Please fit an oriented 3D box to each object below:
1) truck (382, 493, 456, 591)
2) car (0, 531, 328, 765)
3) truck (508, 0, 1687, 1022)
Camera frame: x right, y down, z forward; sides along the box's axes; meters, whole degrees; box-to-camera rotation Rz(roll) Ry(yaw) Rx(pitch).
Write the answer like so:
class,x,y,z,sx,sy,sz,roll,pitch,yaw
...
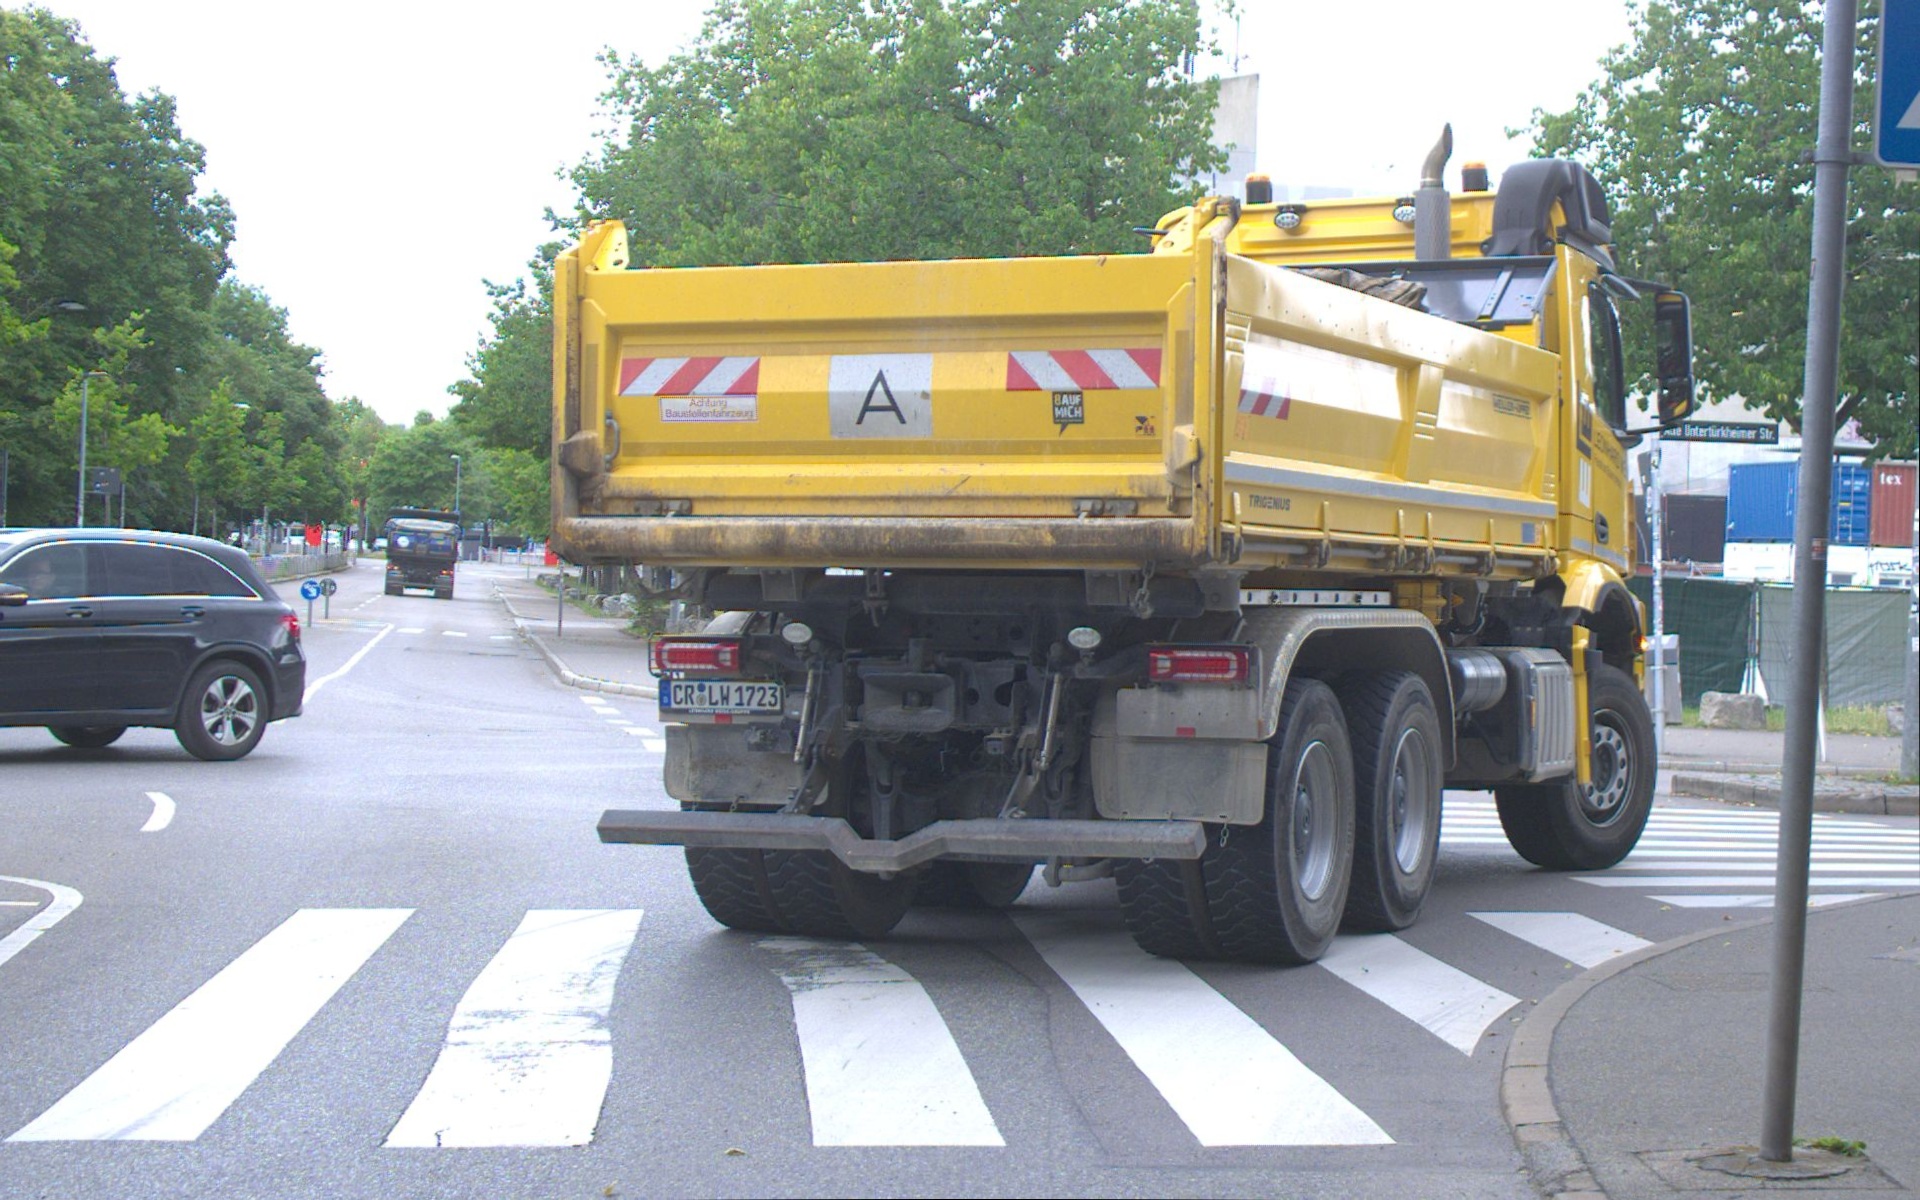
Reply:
class,x,y,z,sx,sy,sz,roll,pitch,yaw
truck,-20.369,-2.145,129.409,2.672,3.546,7.925,0,0,-9
car,-6.849,0.304,24.178,1.844,1.569,4.539,2,1,41
truck,1.157,-0.452,15.607,2.761,3.686,7.871,0,0,23
